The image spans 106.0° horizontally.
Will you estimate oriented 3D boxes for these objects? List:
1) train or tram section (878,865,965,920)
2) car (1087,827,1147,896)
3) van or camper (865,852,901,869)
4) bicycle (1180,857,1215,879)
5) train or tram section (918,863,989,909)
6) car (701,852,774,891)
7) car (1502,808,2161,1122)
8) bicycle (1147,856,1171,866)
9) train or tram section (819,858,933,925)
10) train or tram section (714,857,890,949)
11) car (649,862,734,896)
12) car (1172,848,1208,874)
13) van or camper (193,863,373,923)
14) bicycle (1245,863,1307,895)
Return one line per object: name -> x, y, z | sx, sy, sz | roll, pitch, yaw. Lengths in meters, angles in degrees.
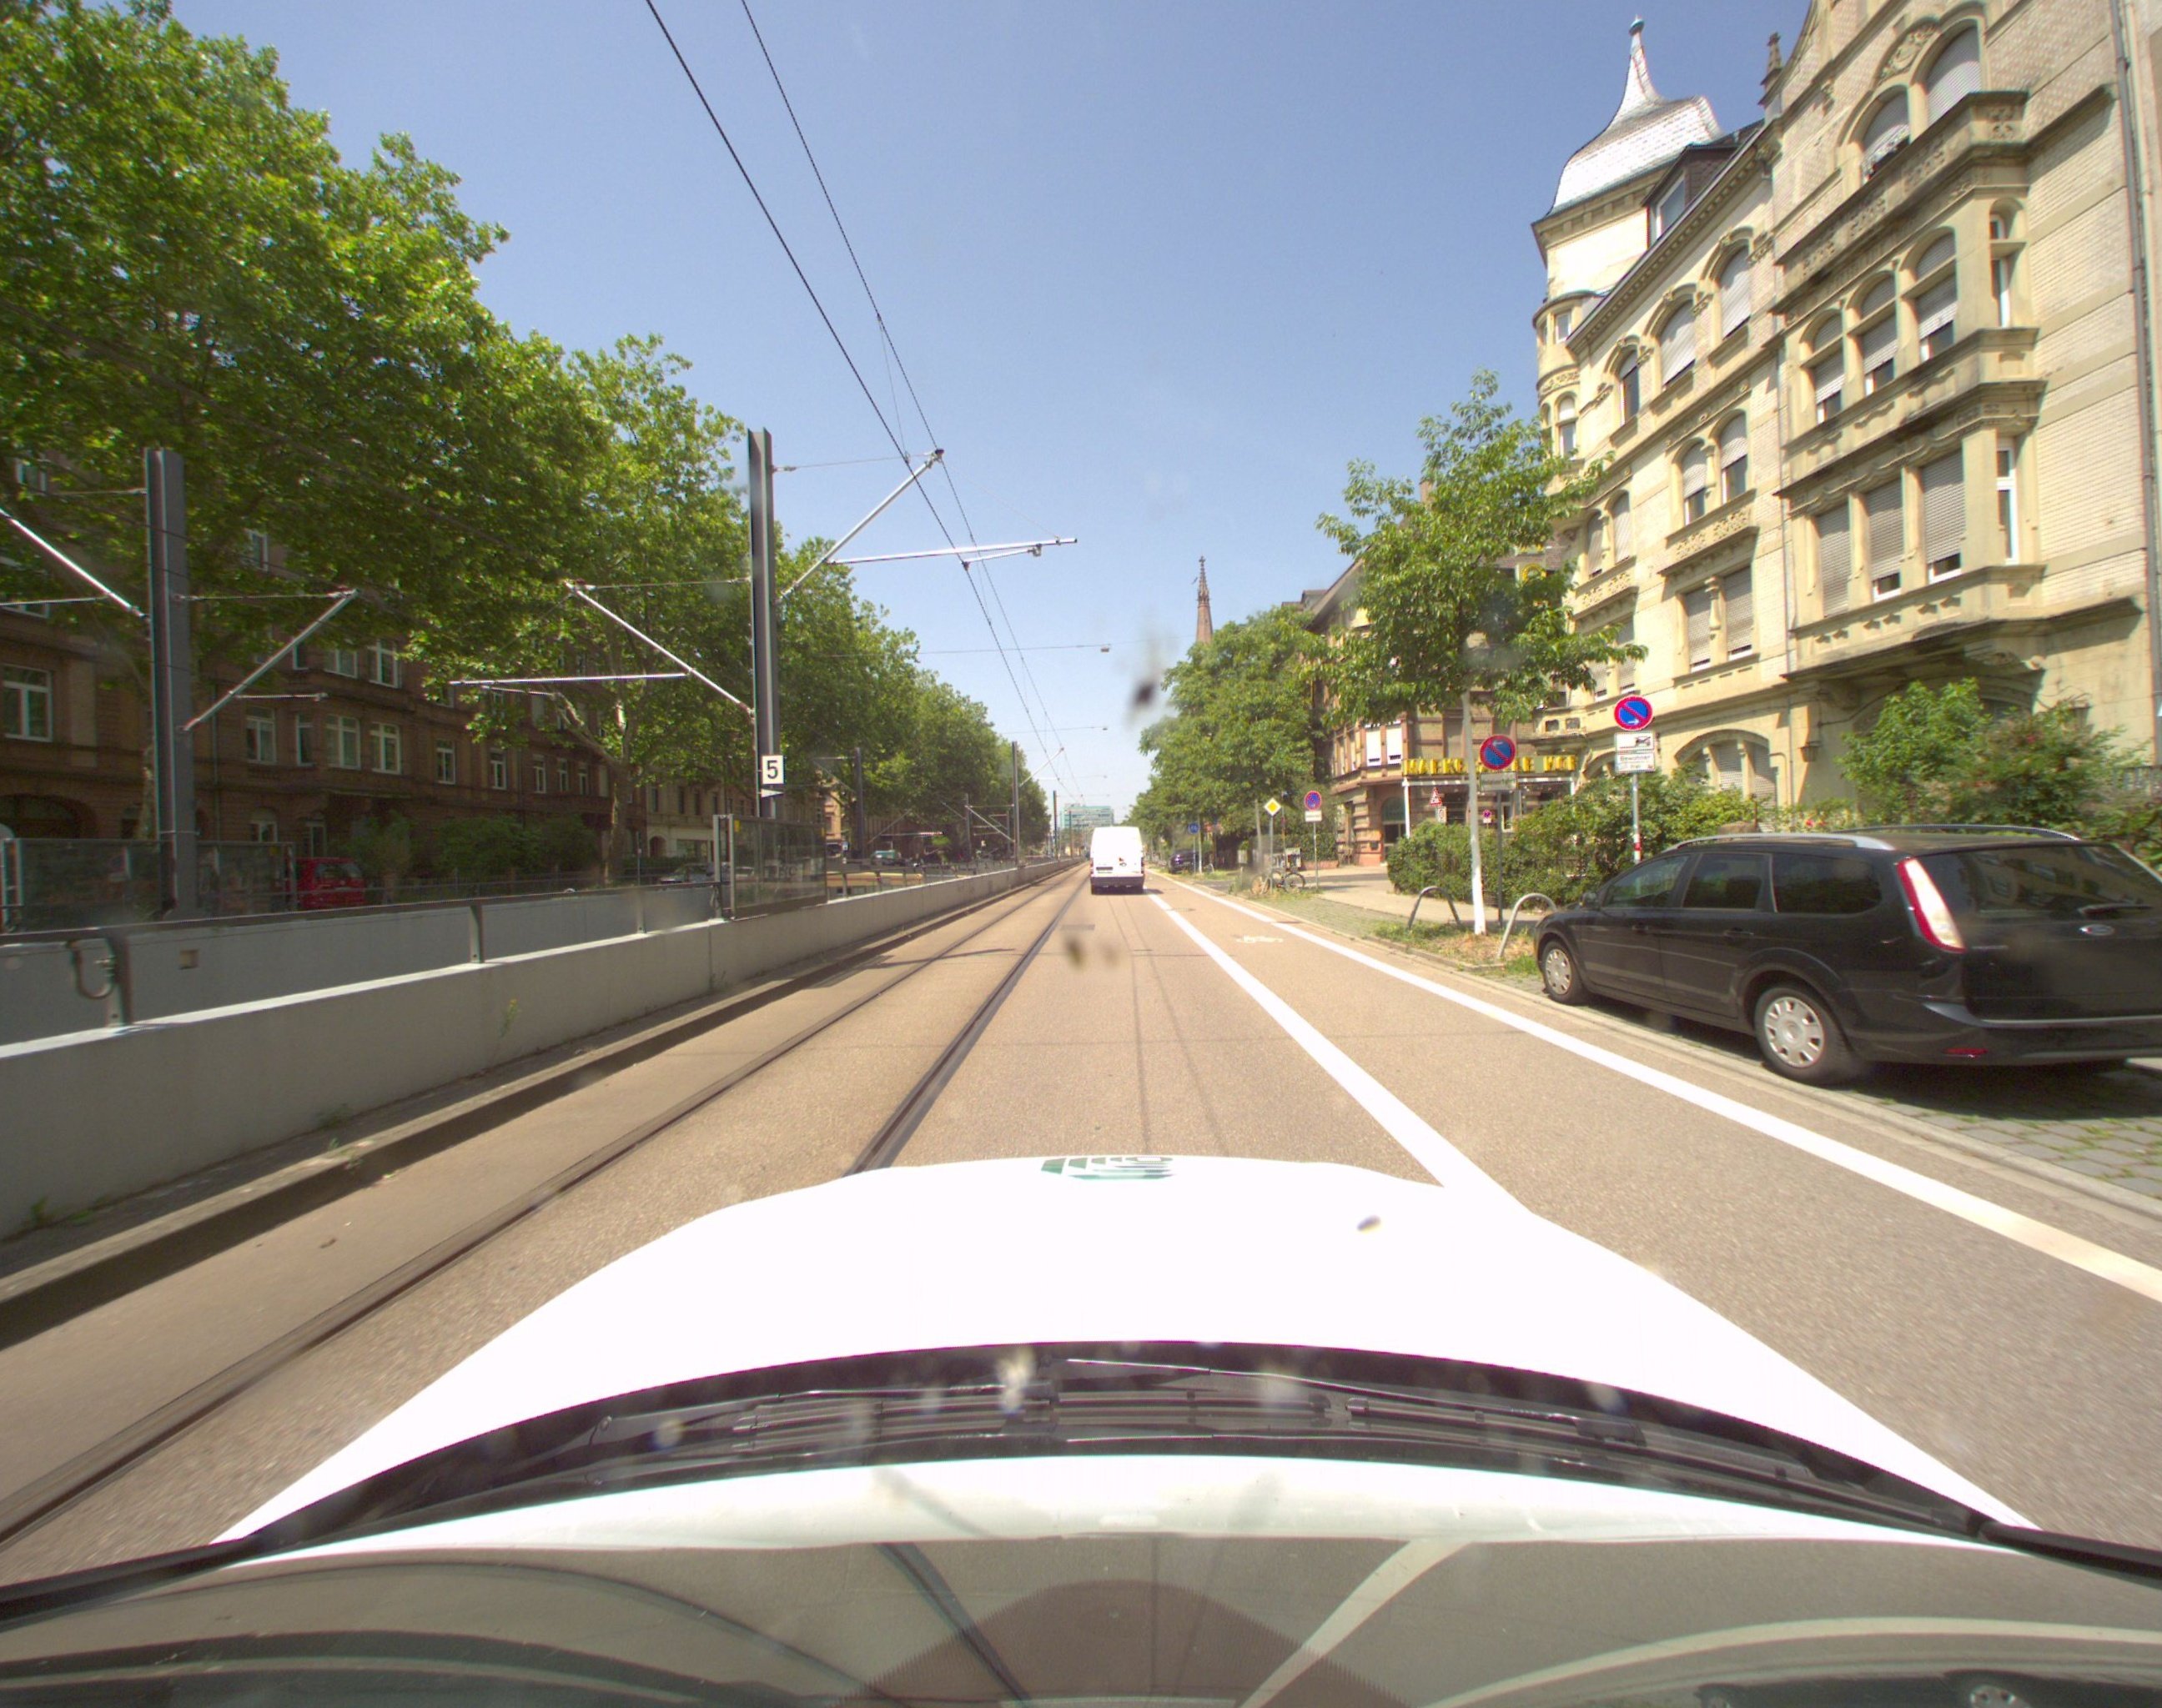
train or tram section -> -8.439, 1.954, 44.135 | 2.719, 2.508, 8.494 | -1, 0, 2
car -> 1.424, 0.272, 32.189 | 2.108, 2.459, 5.057 | -1, 0, 3
van or camper -> -25.485, 0.833, 104.920 | 3.975, 2.013, 1.999 | -2, 0, -1
bicycle -> 6.727, 0.792, 47.120 | 1.881, 1.182, 0.640 | -2, 0, 0
train or tram section -> -8.136, 1.960, 53.417 | 2.719, 2.508, 10.093 | -1, 0, 2
car -> -18.000, 0.899, 42.936 | 1.986, 1.904, 4.149 | -1, 0, 1
car -> 5.204, 0.541, 6.255 | 1.723, 1.536, 4.405 | -1, 0, 1
bicycle -> 7.283, 0.639, 75.646 | 1.548, 0.826, 4.016 | -1, 0, 15
train or tram section -> -8.735, 1.491, 35.838 | 2.719, 2.508, 8.006 | -1, 0, 2
train or tram section -> -8.986, 1.432, 27.542 | 2.719, 2.508, 8.520 | -1, 0, 2
car -> -18.060, 1.116, 37.974 | 1.845, 1.401, 4.198 | -1, 0, 1
car -> 7.422, 0.456, 55.651 | 2.147, 1.670, 4.004 | -1, 0, 4
van or camper -> -27.125, 1.319, 27.764 | 4.519, 1.836, 1.936 | -2, 0, 7
bicycle -> 6.159, 0.789, 25.765 | 1.834, 0.953, 0.503 | -2, 0, 3
